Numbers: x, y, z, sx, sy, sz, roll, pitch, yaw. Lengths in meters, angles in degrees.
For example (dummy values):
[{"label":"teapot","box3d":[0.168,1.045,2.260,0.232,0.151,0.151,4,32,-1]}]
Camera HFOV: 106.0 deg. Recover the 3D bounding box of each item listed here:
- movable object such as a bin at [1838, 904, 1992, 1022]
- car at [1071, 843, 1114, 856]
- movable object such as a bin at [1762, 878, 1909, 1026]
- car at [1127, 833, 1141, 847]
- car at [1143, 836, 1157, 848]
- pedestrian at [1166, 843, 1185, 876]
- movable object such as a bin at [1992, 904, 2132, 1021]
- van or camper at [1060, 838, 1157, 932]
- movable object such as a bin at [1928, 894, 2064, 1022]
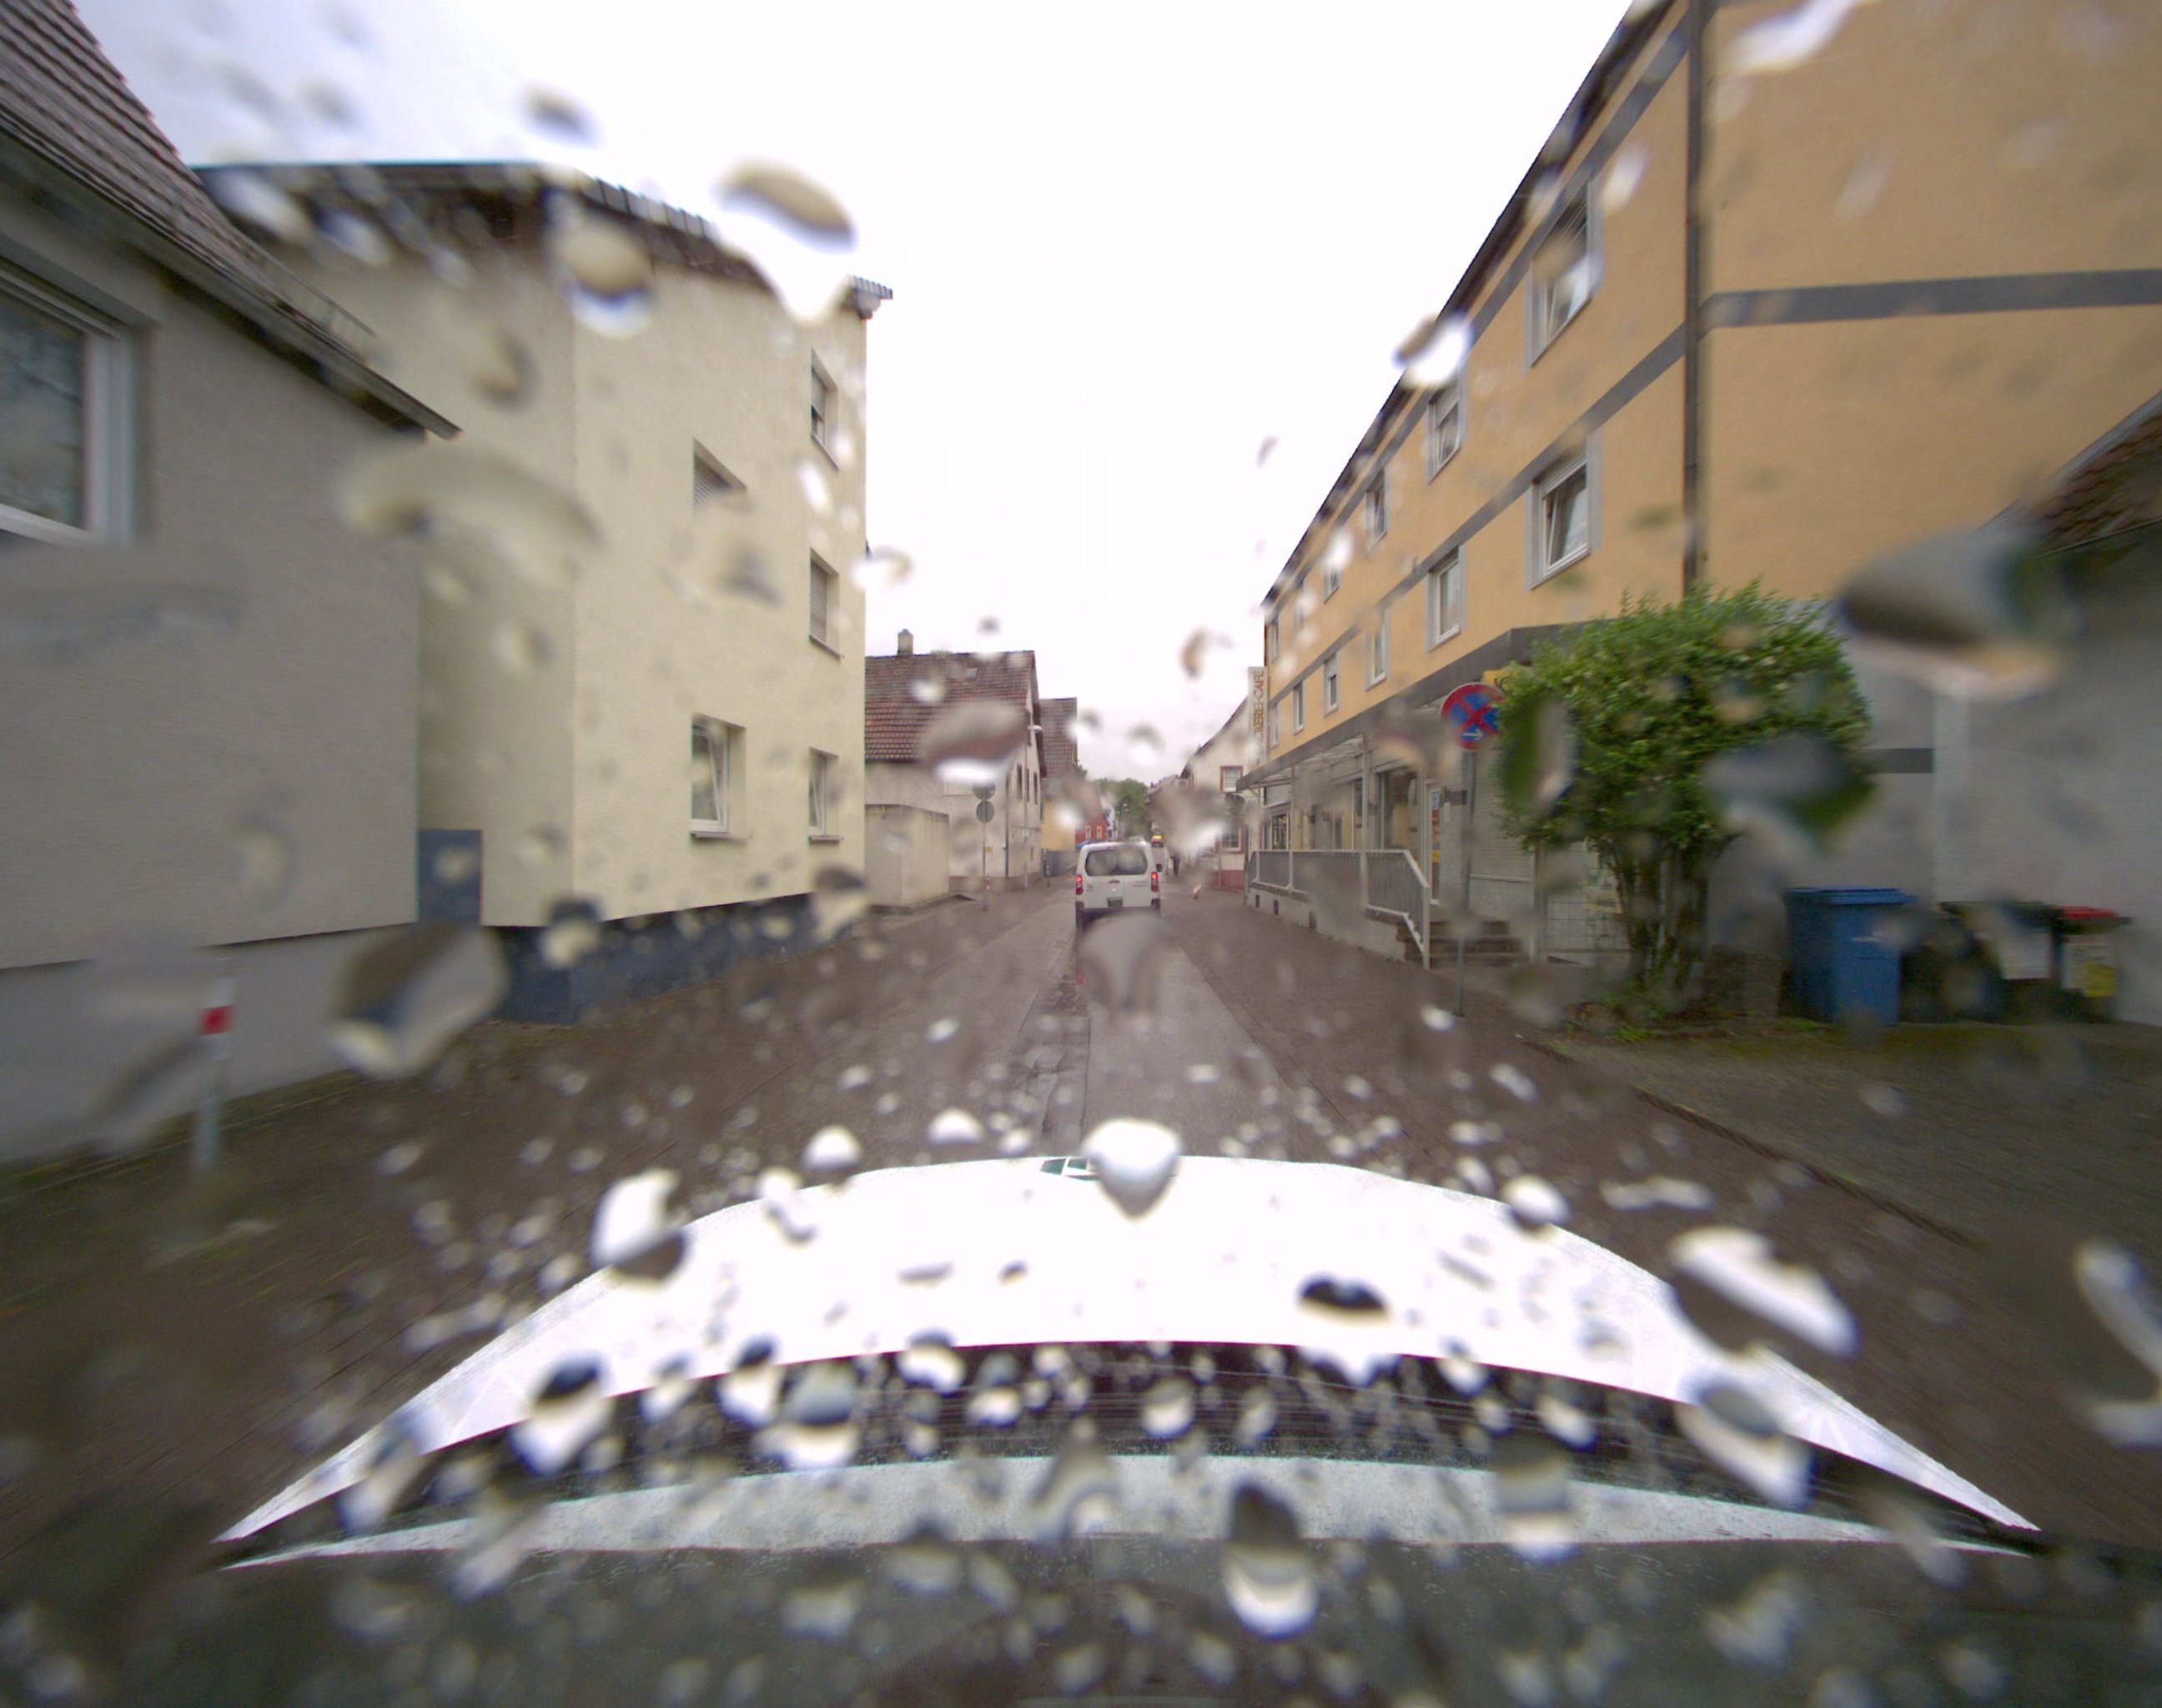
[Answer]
[{"label":"movable object such as a bin","box3d":[6.583,0.840,6.463,0.447,0.812,0.740,-3,0,6]},{"label":"car","box3d":[1.234,-0.475,86.888,4.014,1.373,2.090,-1,0,-32]},{"label":"movable object such as a bin","box3d":[5.990,0.753,6.505,0.506,1.081,0.740,-1,0,6]},{"label":"car","box3d":[7.174,-1.921,109.826,1.804,1.779,4.023,0,2,4]},{"label":"car","box3d":[10.290,-1.825,120.942,1.985,1.747,4.004,0,0,3]},{"label":"pedestrian","box3d":[5.120,0.294,43.982,0.988,1.735,0.813,0,3,9]},{"label":"movable object such as a bin","box3d":[7.533,0.820,6.274,0.462,0.825,0.504,-1,0,5]},{"label":"van or camper","box3d":[0.639,0.624,18.271,1.936,1.851,4.002,1,0,2]},{"label":"movable object such as a bin","box3d":[7.049,0.786,6.296,0.444,0.921,0.534,-1,0,5]}]
